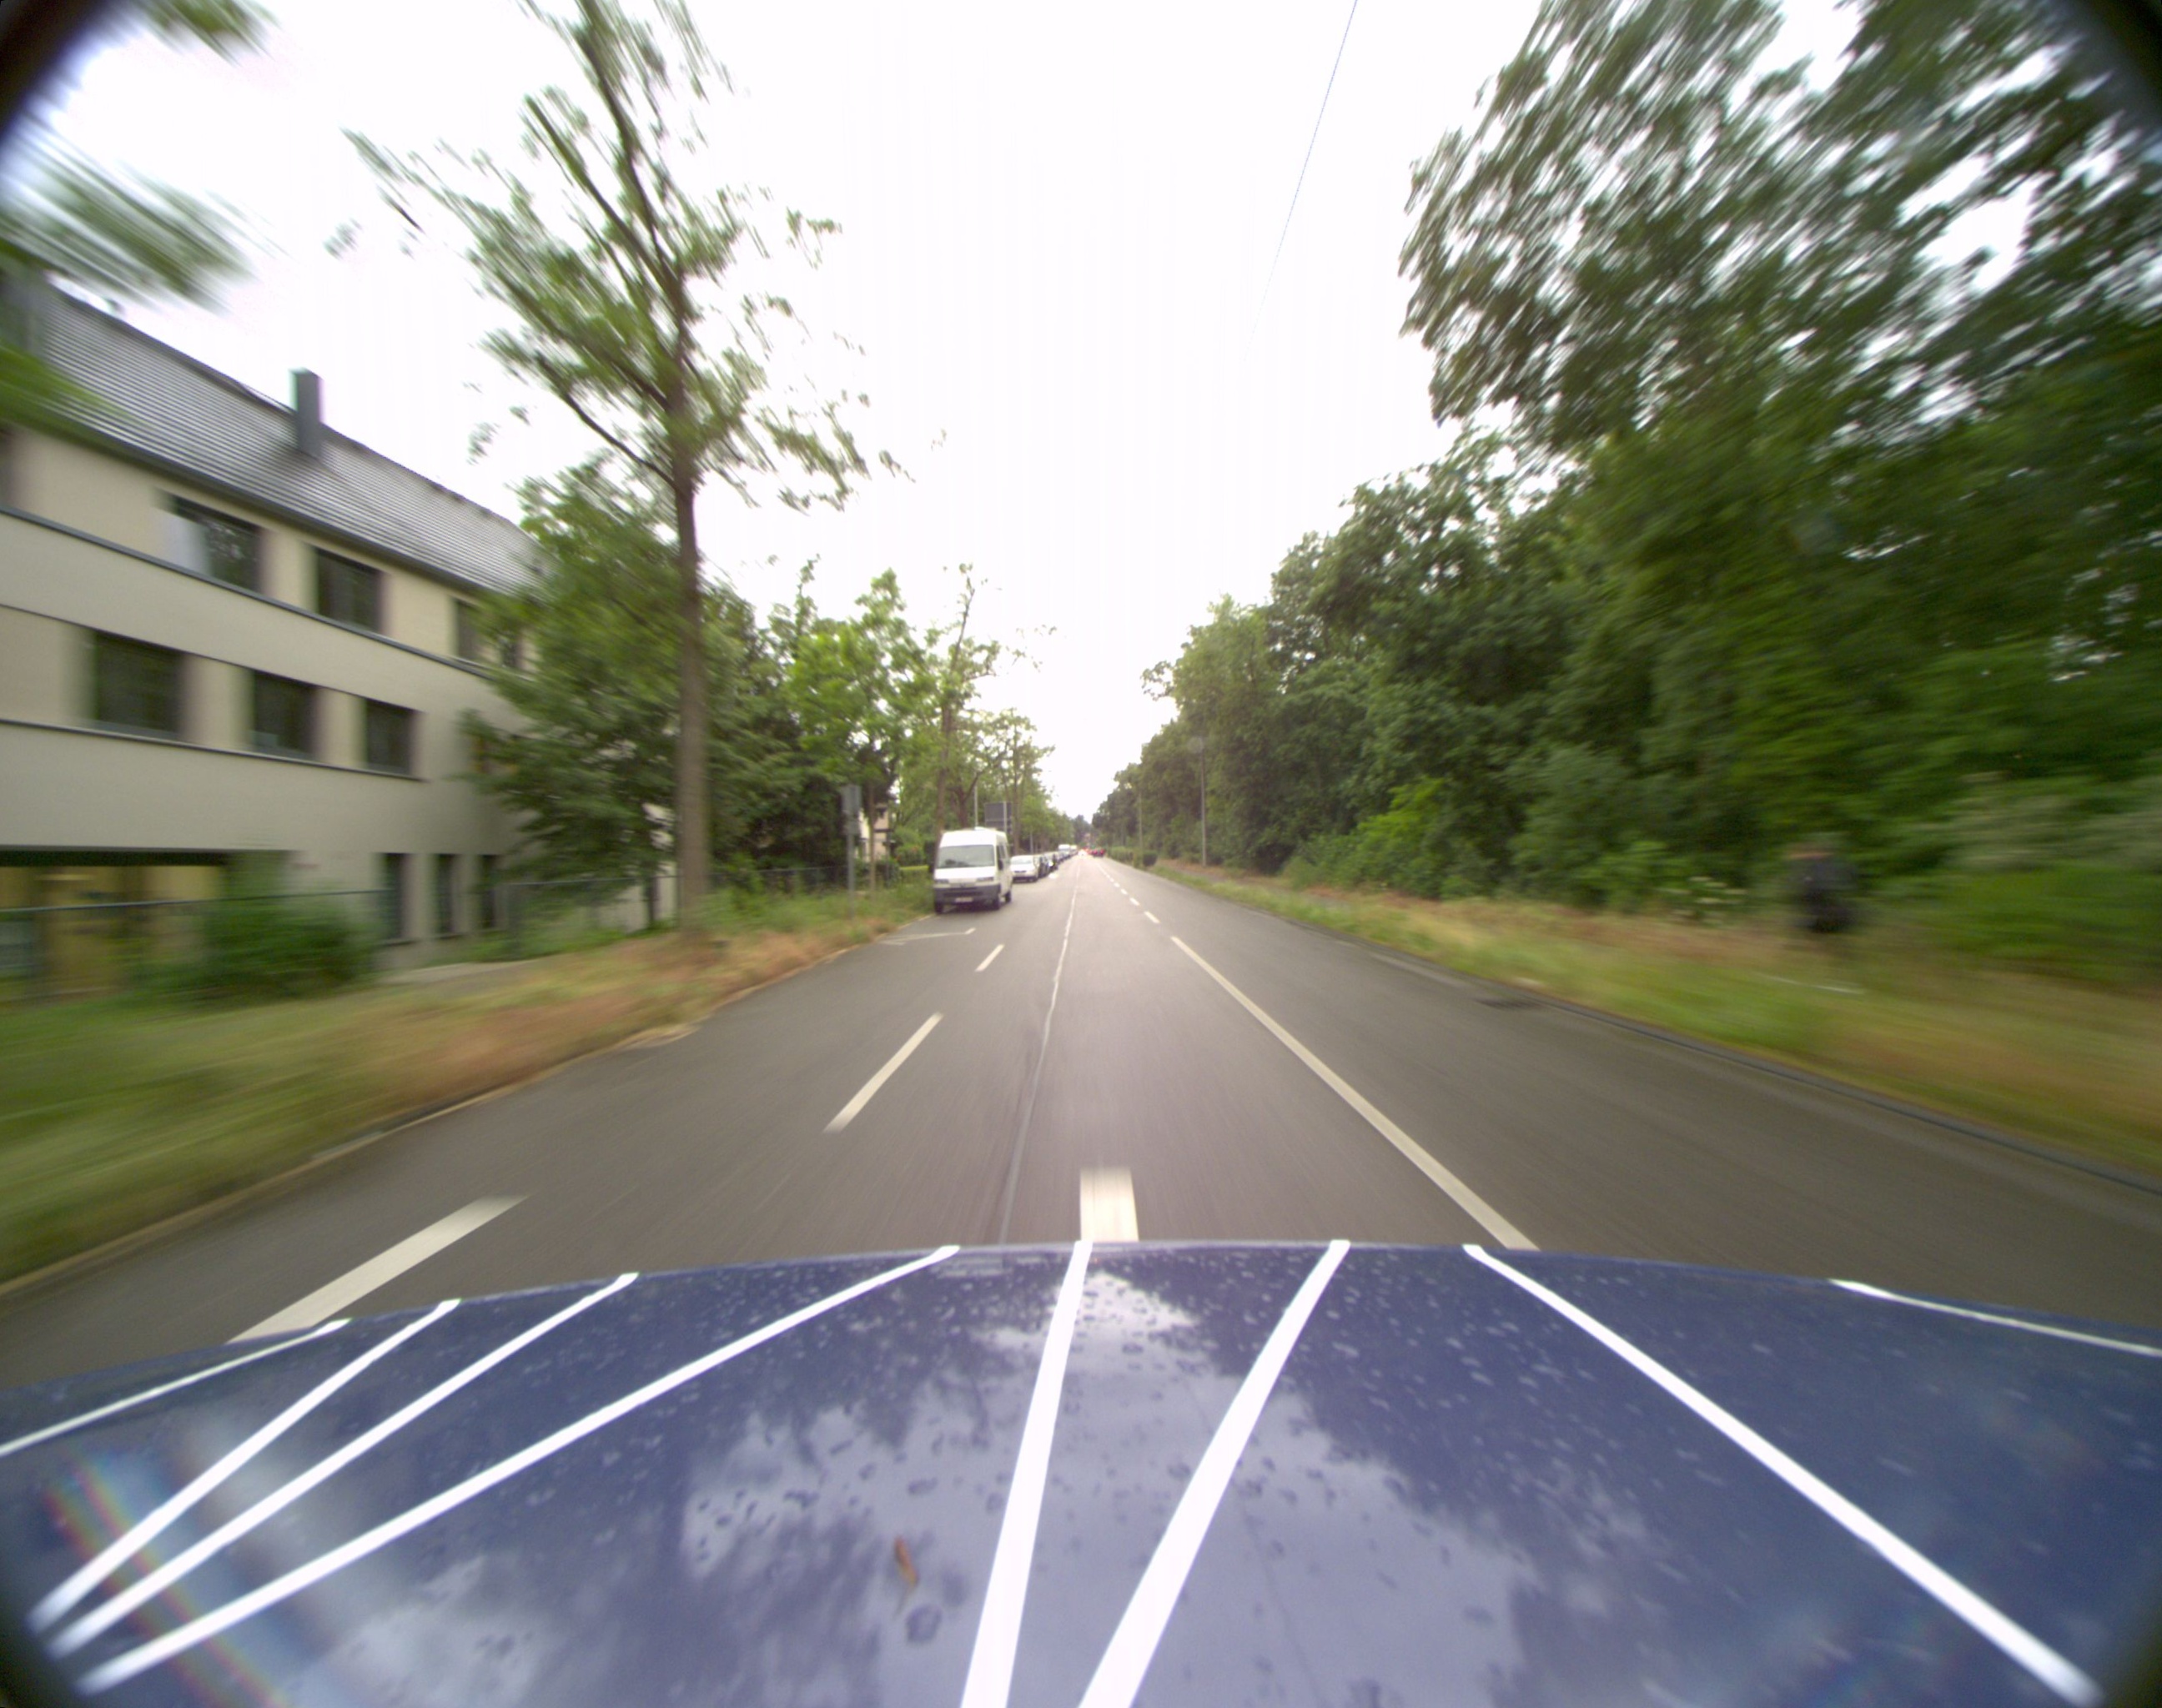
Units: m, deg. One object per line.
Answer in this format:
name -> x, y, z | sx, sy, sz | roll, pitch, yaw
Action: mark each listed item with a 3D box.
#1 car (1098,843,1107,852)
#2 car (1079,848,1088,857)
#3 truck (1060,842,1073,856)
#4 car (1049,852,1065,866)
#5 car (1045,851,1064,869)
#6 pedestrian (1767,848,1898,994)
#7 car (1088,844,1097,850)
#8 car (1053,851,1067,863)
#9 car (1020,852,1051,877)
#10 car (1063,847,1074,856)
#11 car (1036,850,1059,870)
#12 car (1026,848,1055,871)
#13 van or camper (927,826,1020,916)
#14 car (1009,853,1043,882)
car -> 4.072, -1.178, 143.864 | 1.680, 1.609, 4.061 | 0, 1, -1
car -> 0.691, -0.330, 184.767 | 1.998, 2.002, 3.999 | -2, 2, 2
truck -> -2.505, -0.919, 134.376 | 2.230, 2.322, 5.112 | 0, 1, -1
car -> -2.725, 0.546, 88.256 | 1.675, 1.421, 3.699 | -3, 1, 0
car -> -2.493, 0.534, 71.344 | 1.601, 1.508, 2.801 | -3, 1, 0
pedestrian -> 8.663, 0.741, 8.789 | 0.783, 1.598, 0.732 | -1, 1, -1
car -> 2.806, -1.690, 186.071 | 1.851, 1.490, 3.999 | 0, 1, -1
car -> -2.745, 0.377, 100.064 | 1.675, 1.421, 3.699 | -3, 1, 0
car -> -2.945, 0.671, 49.866 | 1.621, 1.462, 3.944 | -3, 1, 2
car -> -2.046, -0.441, 122.552 | 1.789, 1.452, 3.999 | 0, 1, -1
car -> -2.690, 0.463, 61.236 | 1.621, 1.460, 4.409 | -3, 1, -1
car -> -2.916, 0.379, 56.032 | 1.757, 1.517, 4.822 | -3, 1, 1
van or camper -> -3.333, 0.448, 24.703 | 2.042, 2.465, 5.637 | -4, 1, 0
car -> -3.133, 0.730, 43.985 | 1.575, 1.464, 3.764 | -3, 1, 1
